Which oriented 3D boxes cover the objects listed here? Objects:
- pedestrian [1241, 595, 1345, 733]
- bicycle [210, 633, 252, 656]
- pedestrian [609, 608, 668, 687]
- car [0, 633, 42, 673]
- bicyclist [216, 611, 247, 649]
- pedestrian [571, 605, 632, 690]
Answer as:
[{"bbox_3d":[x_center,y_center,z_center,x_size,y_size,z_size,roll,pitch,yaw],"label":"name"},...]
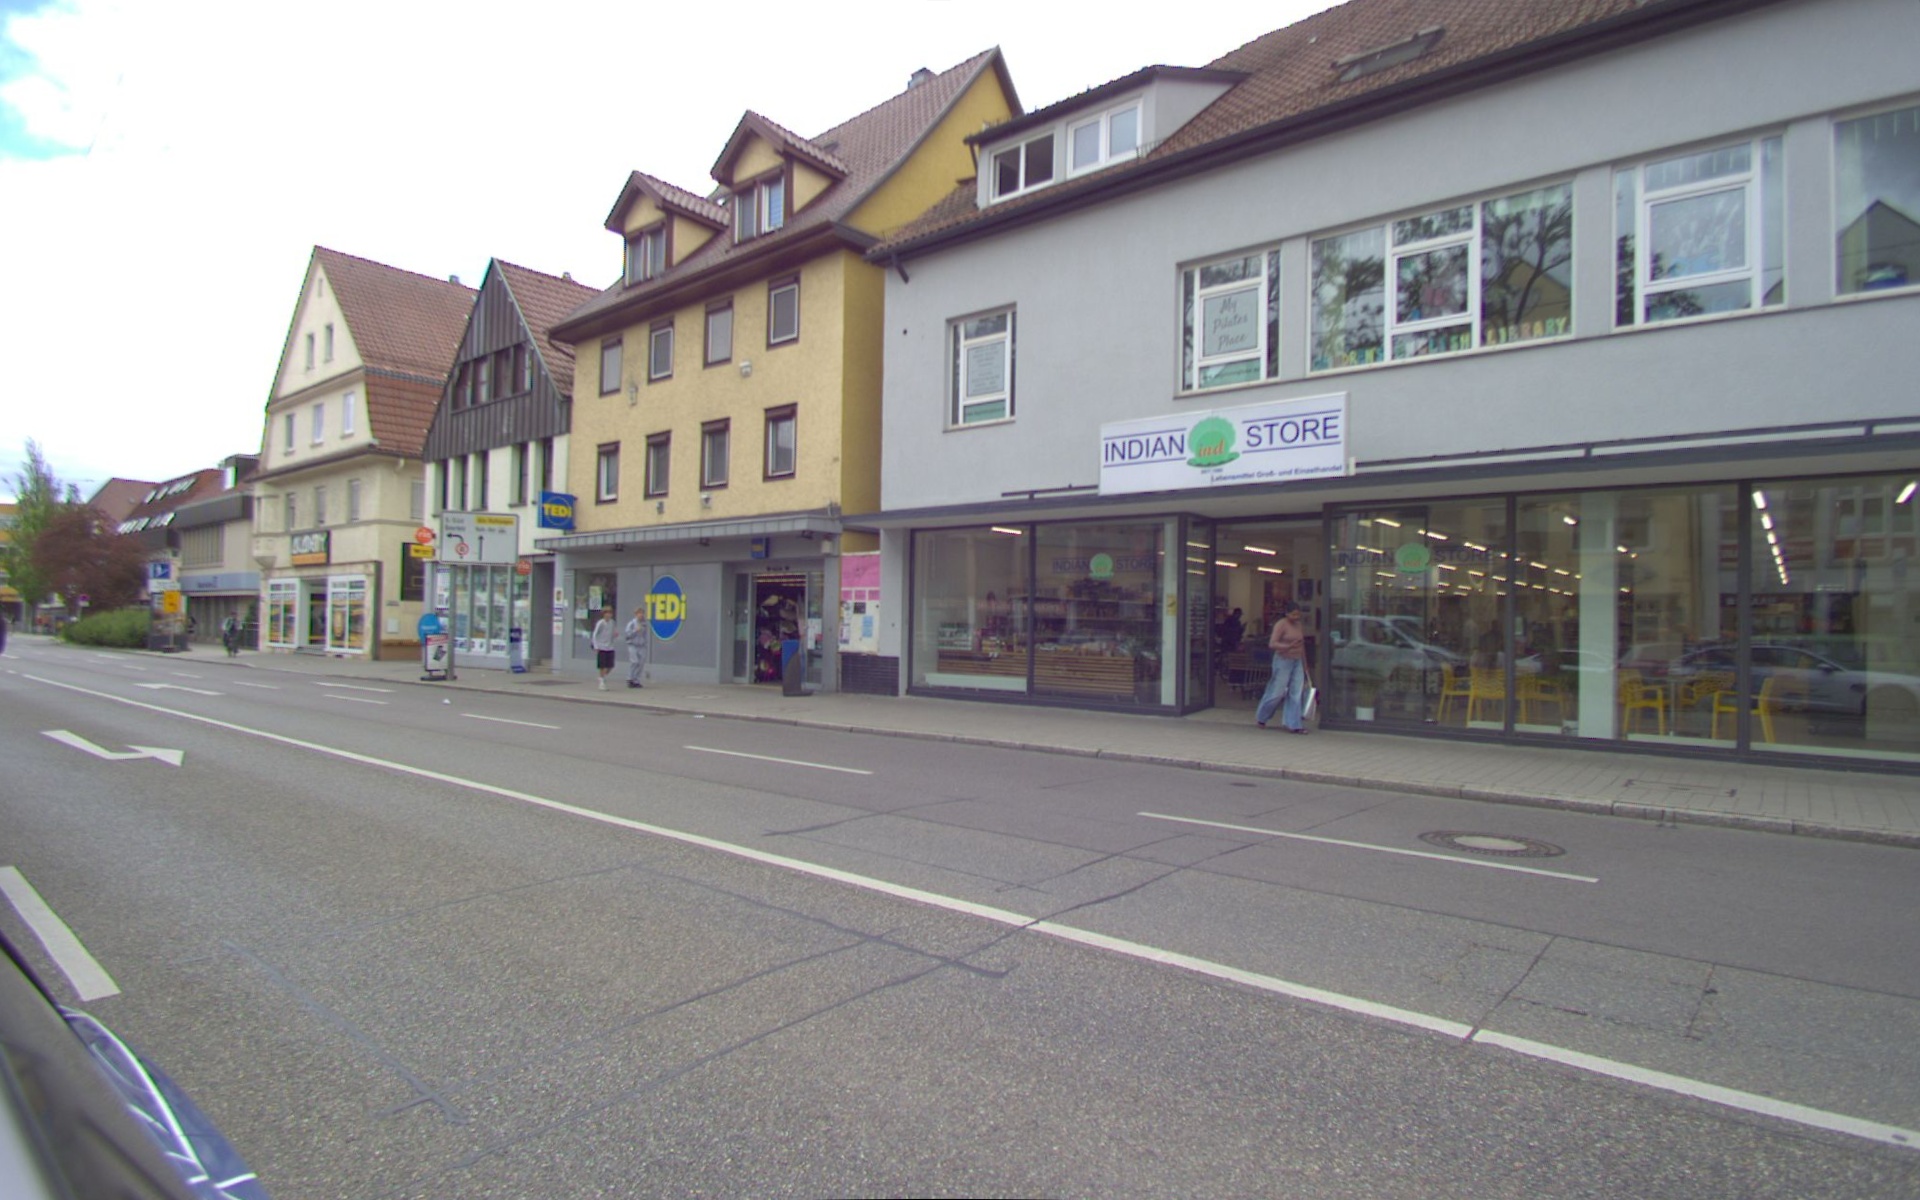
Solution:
[{"bbox_3d":[4.266,0.788,12.966,0.986,1.679,0.873,1,-1,-39],"label":"pedestrian"},{"bbox_3d":[-27.820,1.682,38.610,2.238,0.829,0.763,-1,-2,40],"label":"bicycle"},{"bbox_3d":[-6.709,0.970,21.132,0.920,1.595,0.801,-1,-2,42],"label":"pedestrian"},{"bbox_3d":[-45.227,2.462,47.972,4.766,1.790,1.903,-1,-3,40],"label":"car"},{"bbox_3d":[-27.814,1.153,38.634,0.751,1.434,0.763,-1,-2,40],"label":"bicyclist"},{"bbox_3d":[-7.255,0.949,20.488,0.920,1.674,0.801,-1,-2,42],"label":"pedestrian"}]
